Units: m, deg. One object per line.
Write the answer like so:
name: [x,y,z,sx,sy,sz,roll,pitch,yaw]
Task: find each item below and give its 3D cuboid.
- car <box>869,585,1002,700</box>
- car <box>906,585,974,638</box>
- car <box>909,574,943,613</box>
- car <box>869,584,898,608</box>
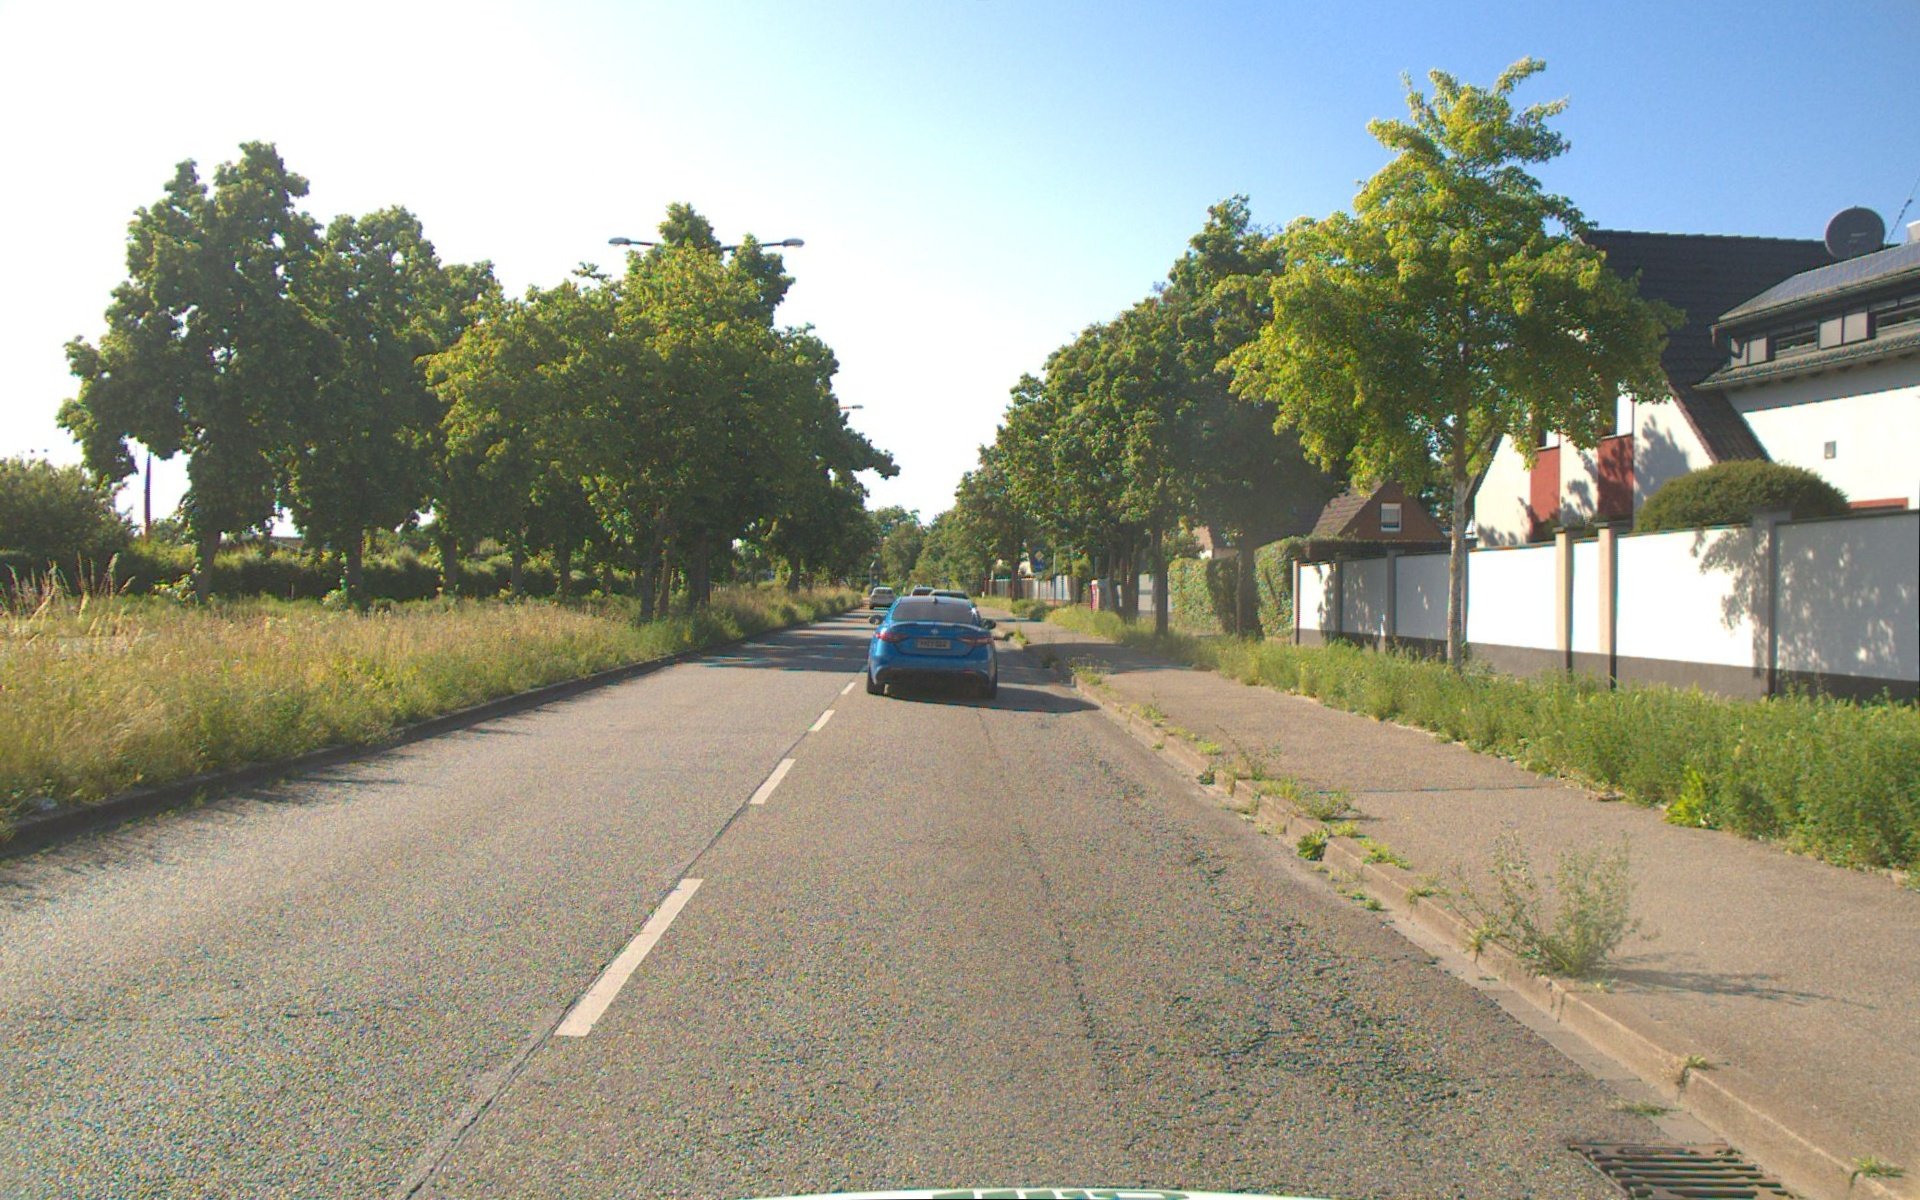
car: [-0.369,0.569,24.832,1.801,1.500,4.184,1,1,-1]
car: [-0.681,0.364,53.976,1.878,1.607,4.177,-1,0,-5]
car: [-1.877,-0.349,91.100,1.756,2.049,3.999,1,0,-2]
car: [-5.058,-0.263,109.377,1.877,1.538,4.065,0,0,-3]
